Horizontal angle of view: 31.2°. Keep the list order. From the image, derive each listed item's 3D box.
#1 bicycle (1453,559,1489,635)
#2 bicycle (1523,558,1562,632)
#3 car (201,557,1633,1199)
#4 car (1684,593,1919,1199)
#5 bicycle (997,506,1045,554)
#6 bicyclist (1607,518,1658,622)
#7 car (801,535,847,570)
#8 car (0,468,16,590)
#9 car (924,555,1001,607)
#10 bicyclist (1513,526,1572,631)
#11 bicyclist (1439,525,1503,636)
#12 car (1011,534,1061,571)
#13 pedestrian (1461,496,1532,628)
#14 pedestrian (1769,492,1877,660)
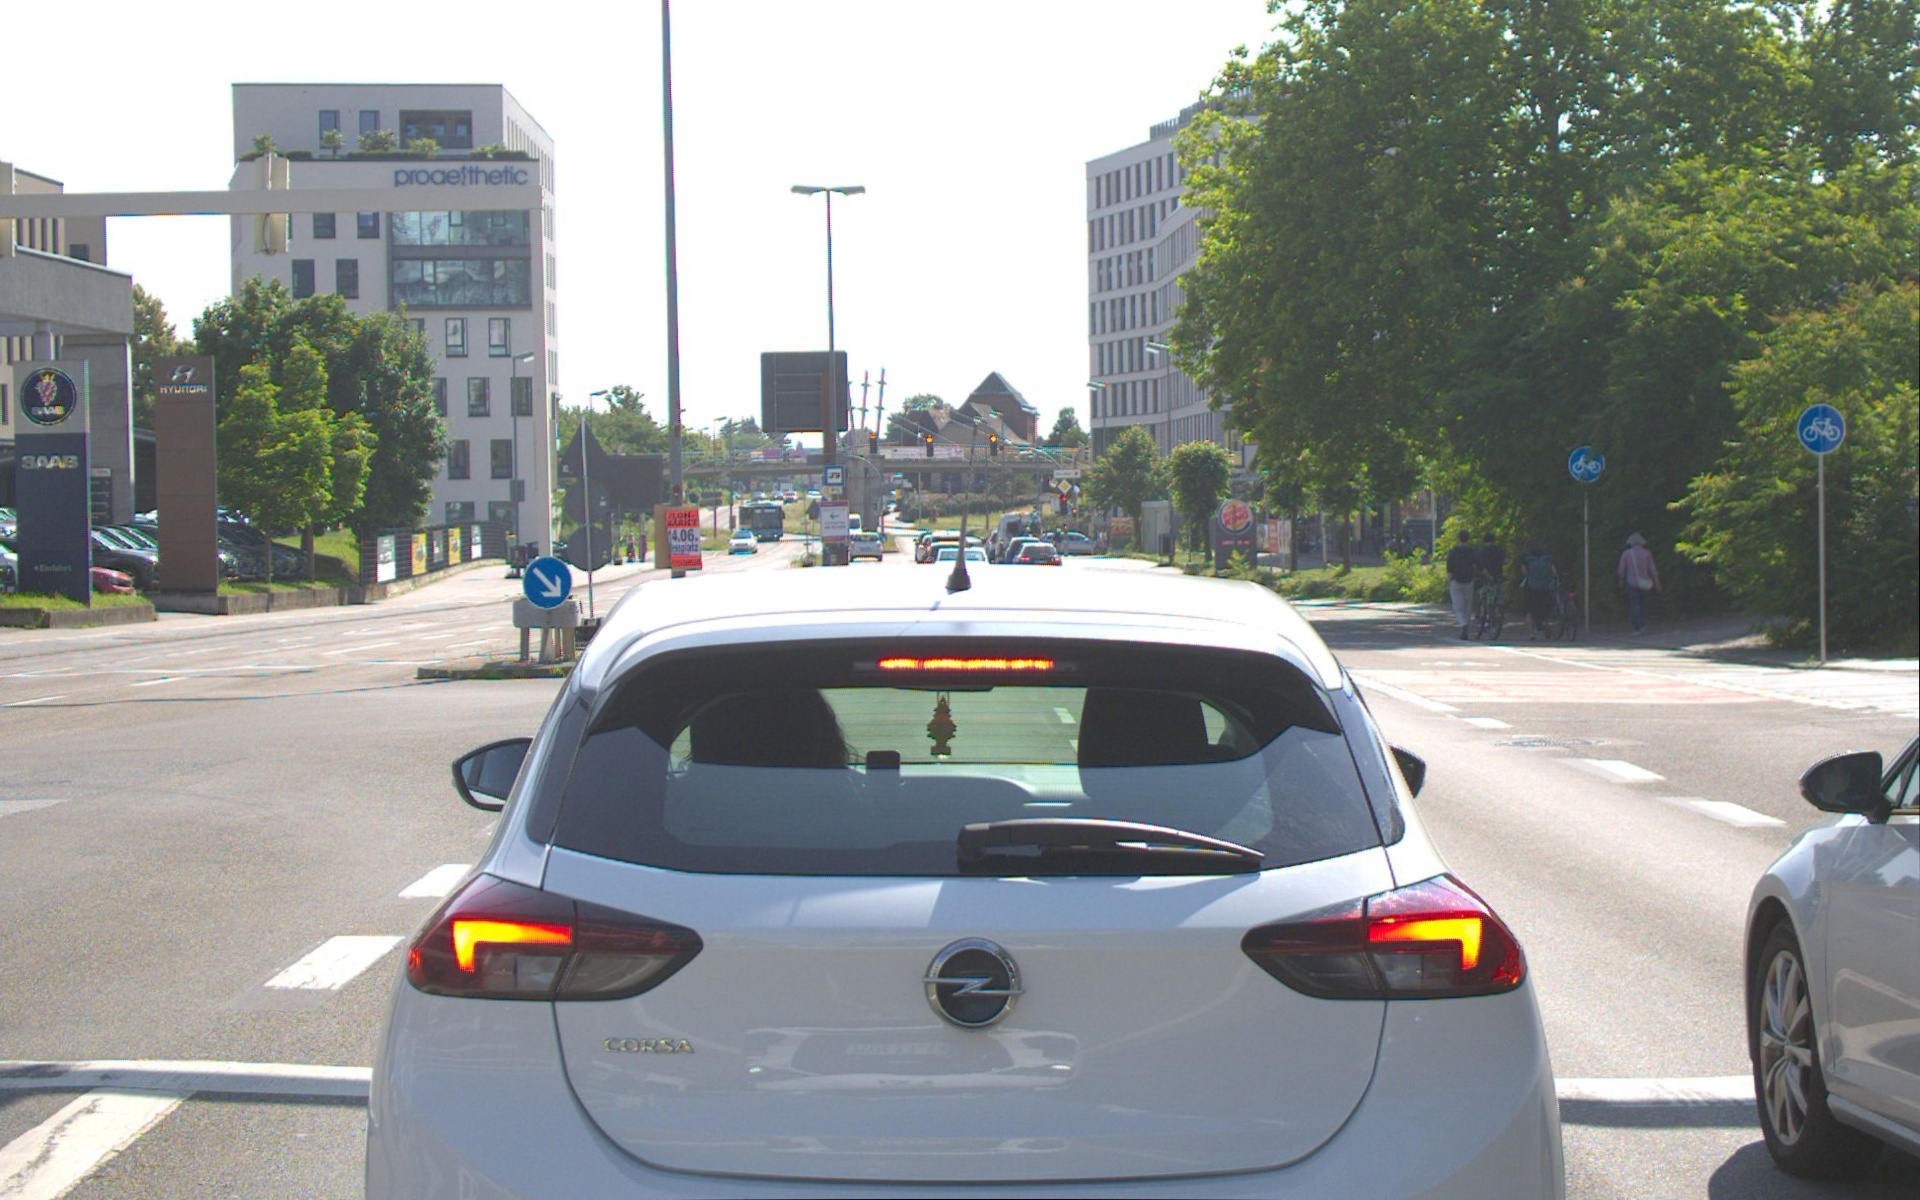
[{"bbox_3d":[8.210,-0.056,55.231,0.372,1.212,1.154,1,1,-1],"label":"bicycle"},{"bbox_3d":[9.196,-0.079,54.303,0.373,1.143,1.034,1,0,-3],"label":"bicycle"},{"bbox_3d":[-0.076,0.686,6.296,1.779,1.489,4.000,-1,1,-1],"label":"car"},{"bbox_3d":[2.853,0.710,6.869,1.807,1.424,4.000,-1,1,-2],"label":"car"},{"bbox_3d":[2.749,-3.163,155.500,1.993,2.150,4.000,-1,1,-1],"label":"bicycle"},{"bbox_3d":[10.690,-0.475,54.663,0.652,1.631,0.659,1,0,0],"label":"bicyclist"},{"bbox_3d":[-5.590,-1.937,141.693,1.806,1.381,4.000,1,0,-1],"label":"car"},{"bbox_3d":[-22.554,-1.489,73.042,4.357,2.592,2.000,-1,1,5],"label":"car"},{"bbox_3d":[0.085,-0.509,92.566,1.993,1.327,4.000,1,0,1],"label":"car"},{"bbox_3d":[9.198,-0.344,54.293,0.688,1.637,0.777,-1,1,-9],"label":"bicyclist"},{"bbox_3d":[8.206,-0.316,55.248,0.879,1.766,0.864,-1,1,0],"label":"bicyclist"},{"bbox_3d":[2.970,-1.851,135.060,1.806,1.381,4.000,1,0,-1],"label":"car"},{"bbox_3d":[9.213,-0.651,59.059,1.027,2.231,1.039,-1,1,-1],"label":"pedestrian"},{"bbox_3d":[10.471,-0.300,41.753,1.027,2.007,1.039,-1,1,-1],"label":"pedestrian"}]
